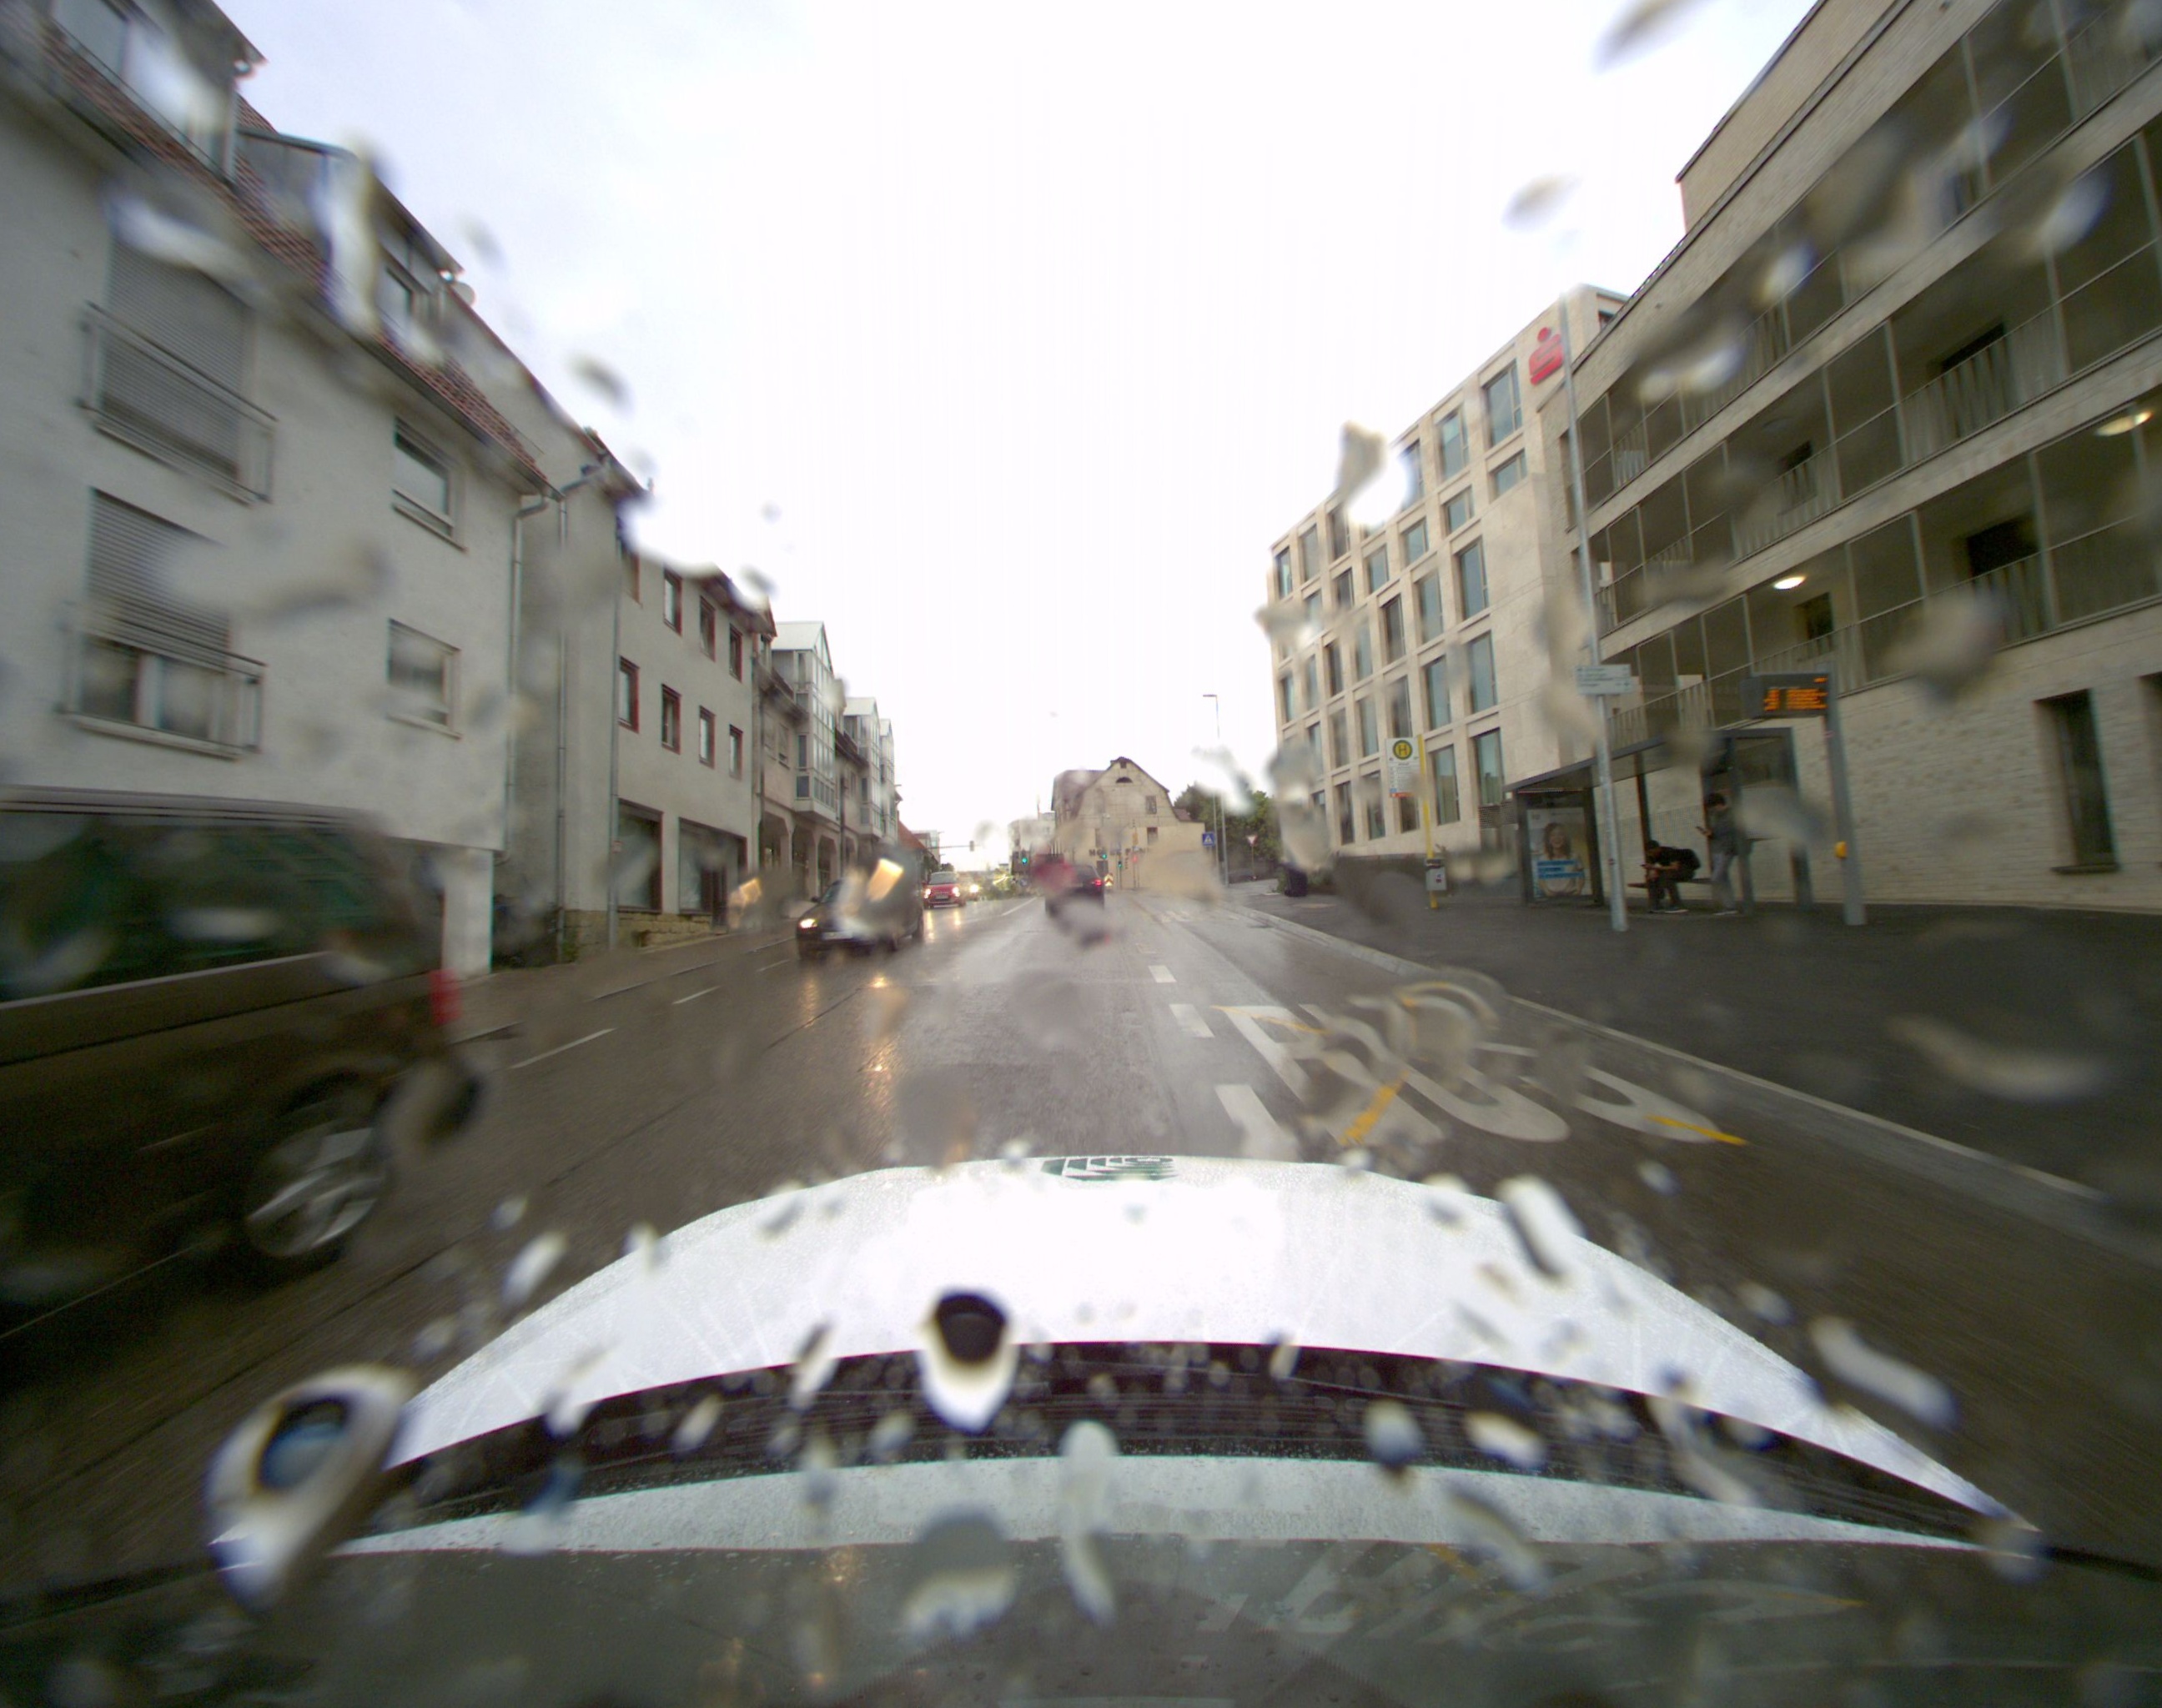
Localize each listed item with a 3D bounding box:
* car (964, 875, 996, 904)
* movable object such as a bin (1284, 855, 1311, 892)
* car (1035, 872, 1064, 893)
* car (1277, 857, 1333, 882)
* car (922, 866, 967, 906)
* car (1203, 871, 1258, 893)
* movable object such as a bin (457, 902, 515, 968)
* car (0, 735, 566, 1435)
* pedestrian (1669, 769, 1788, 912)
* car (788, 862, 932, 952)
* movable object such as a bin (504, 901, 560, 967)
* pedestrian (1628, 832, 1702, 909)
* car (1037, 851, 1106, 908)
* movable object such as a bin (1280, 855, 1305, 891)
[{"bbox_3d":[-6.206,2.171,50.549,1.779,1.630,4.207,-2,-1,-6],"label":"car"},{"bbox_3d":[6.474,0.583,24.375,0.593,1.062,0.579,-3,-1,1],"label":"movable object such as a bin"},{"bbox_3d":[-2.386,2.133,61.438,1.884,1.467,3.991,-4,-1,-6],"label":"car"},{"bbox_3d":[19.936,1.383,72.564,4.307,1.816,1.770,-4,-6,-13],"label":"car"},{"bbox_3d":[-5.734,1.307,34.505,1.557,1.536,3.442,-4,-1,-5],"label":"car"},{"bbox_3d":[13.008,2.460,70.940,4.309,1.505,1.769,-4,-6,-15],"label":"car"},{"bbox_3d":[-9.797,1.322,13.419,0.507,1.006,0.584,-2,0,-2],"label":"movable object such as a bin"},{"bbox_3d":[-3.935,0.677,2.157,1.926,1.907,5.039,-4,0,-2],"label":"car"},{"bbox_3d":[9.323,-0.182,11.776,0.779,1.940,1.021,-4,-1,2],"label":"pedestrian"},{"bbox_3d":[-4.116,0.916,15.808,1.682,1.444,3.909,-2,0,0],"label":"car"},{"bbox_3d":[-9.081,1.311,13.482,0.507,1.006,0.584,-2,0,-2],"label":"movable object such as a bin"},{"bbox_3d":[9.446,0.265,13.192,0.669,1.162,0.635,-4,-1,2],"label":"pedestrian"},{"bbox_3d":[-0.295,0.747,25.677,1.939,1.567,4.415,-2,0,-1],"label":"car"},{"bbox_3d":[6.522,0.581,25.117,0.593,1.062,0.579,-3,-1,1],"label":"movable object such as a bin"}]
